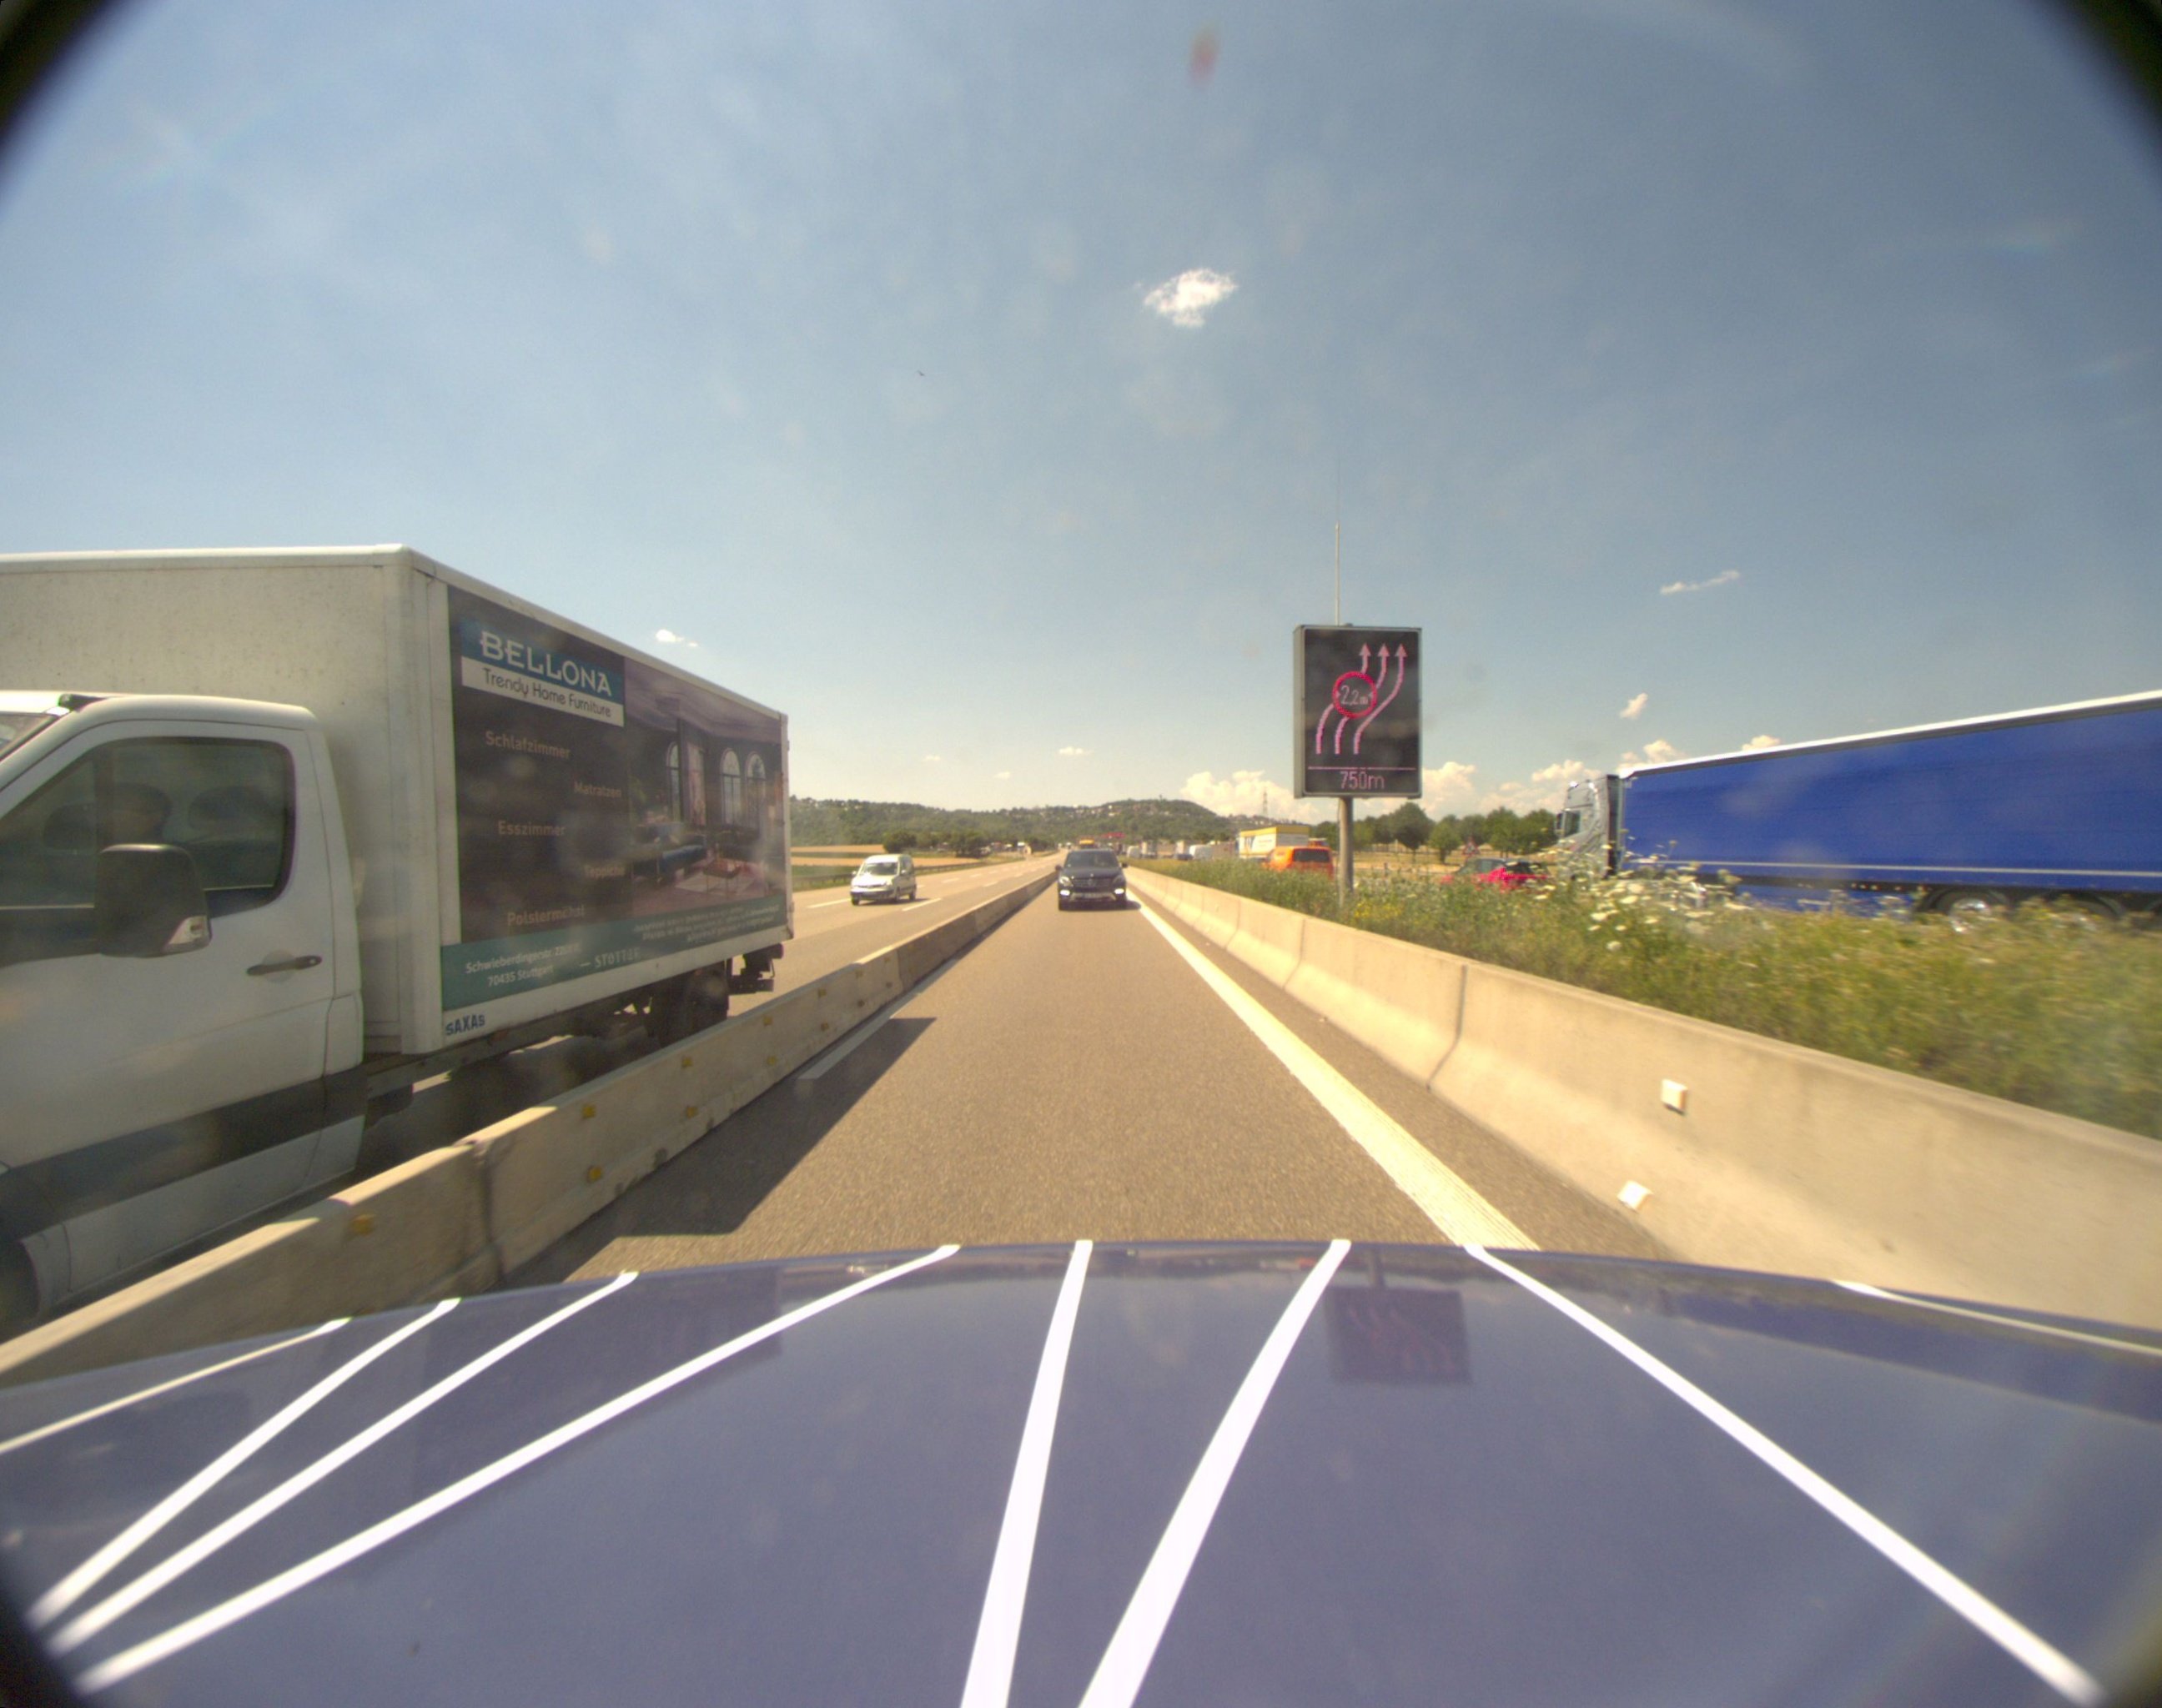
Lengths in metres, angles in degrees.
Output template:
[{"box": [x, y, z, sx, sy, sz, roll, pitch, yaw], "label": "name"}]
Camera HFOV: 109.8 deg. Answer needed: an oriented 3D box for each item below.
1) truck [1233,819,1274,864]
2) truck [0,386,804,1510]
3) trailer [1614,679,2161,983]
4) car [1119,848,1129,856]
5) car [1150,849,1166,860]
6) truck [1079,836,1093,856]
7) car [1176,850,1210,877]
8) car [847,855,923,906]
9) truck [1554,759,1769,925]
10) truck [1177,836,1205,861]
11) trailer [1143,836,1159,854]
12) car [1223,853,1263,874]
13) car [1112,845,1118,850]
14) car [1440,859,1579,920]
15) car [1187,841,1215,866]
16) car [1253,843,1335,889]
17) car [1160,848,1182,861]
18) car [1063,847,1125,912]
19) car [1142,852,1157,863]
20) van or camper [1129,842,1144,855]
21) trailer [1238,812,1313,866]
[{"box": [16.273, -1.162, 71.961, 2.817, 4.104, 4.841, 0, 0, 0], "label": "truck"}, {"box": [-4.072, 0.275, 4.358, 2.326, 3.049, 6.751, -2, 0, 1], "label": "truck"}, {"box": [15.652, -0.316, 13.571, 2.392, 4.063, 14.095, 0, 0, 0], "label": "trailer"}, {"box": [9.377, -0.451, 165.846, 1.786, 1.580, 4.540, -1, 0, 1], "label": "car"}, {"box": [12.420, 0.055, 122.938, 1.891, 1.700, 5.521, 1, 0, -1], "label": "car"}, {"box": [0.883, -1.428, 130.520, 2.272, 3.139, 8.185, -2, 1, 1], "label": "truck"}, {"box": [8.447, 0.692, 57.731, 1.998, 2.002, 4.685, -1, 0, 2], "label": "car"}, {"box": [-7.138, 0.915, 28.022, 1.630, 1.727, 3.973, -2, 0, 1], "label": "car"}, {"box": [15.698, -0.291, 20.998, 2.417, 4.063, 4.659, 0, 0, 1], "label": "truck"}, {"box": [17.561, -0.877, 122.262, 2.801, 3.588, 13.288, 2, 0, 1], "label": "truck"}, {"box": [17.376, -2.234, 189.685, 2.900, 4.350, 12.992, 1, 1, 1], "label": "trailer"}, {"box": [11.029, 0.621, 51.938, 1.752, 1.259, 4.433, -2, 1, 0], "label": "car"}, {"box": [11.153, -2.024, 247.795, 1.895, 1.608, 4.820, -1, 1, 1], "label": "car"}, {"box": [11.933, 0.915, 21.496, 1.592, 1.499, 4.229, 0, 0, 1], "label": "car"}, {"box": [12.800, -0.061, 81.455, 2.052, 2.486, 5.812, 0, 0, 0], "label": "car"}, {"box": [8.379, 0.403, 30.372, 1.899, 1.569, 4.935, -2, 1, 0], "label": "car"}, {"box": [9.689, 0.038, 81.947, 1.783, 1.327, 4.928, -2, 1, 0], "label": "car"}, {"box": [0.395, 0.705, 22.516, 1.630, 1.711, 3.865, -2, 0, 1], "label": "car"}, {"box": [9.429, 0.469, 104.625, 1.601, 1.460, 4.533, 0, 0, 0], "label": "car"}, {"box": [9.788, -0.957, 134.391, 2.040, 2.208, 7.207, -2, 0, 0], "label": "van or camper"}, {"box": [16.245, -1.129, 64.828, 2.817, 4.104, 14.129, 0, 0, 0], "label": "trailer"}]
